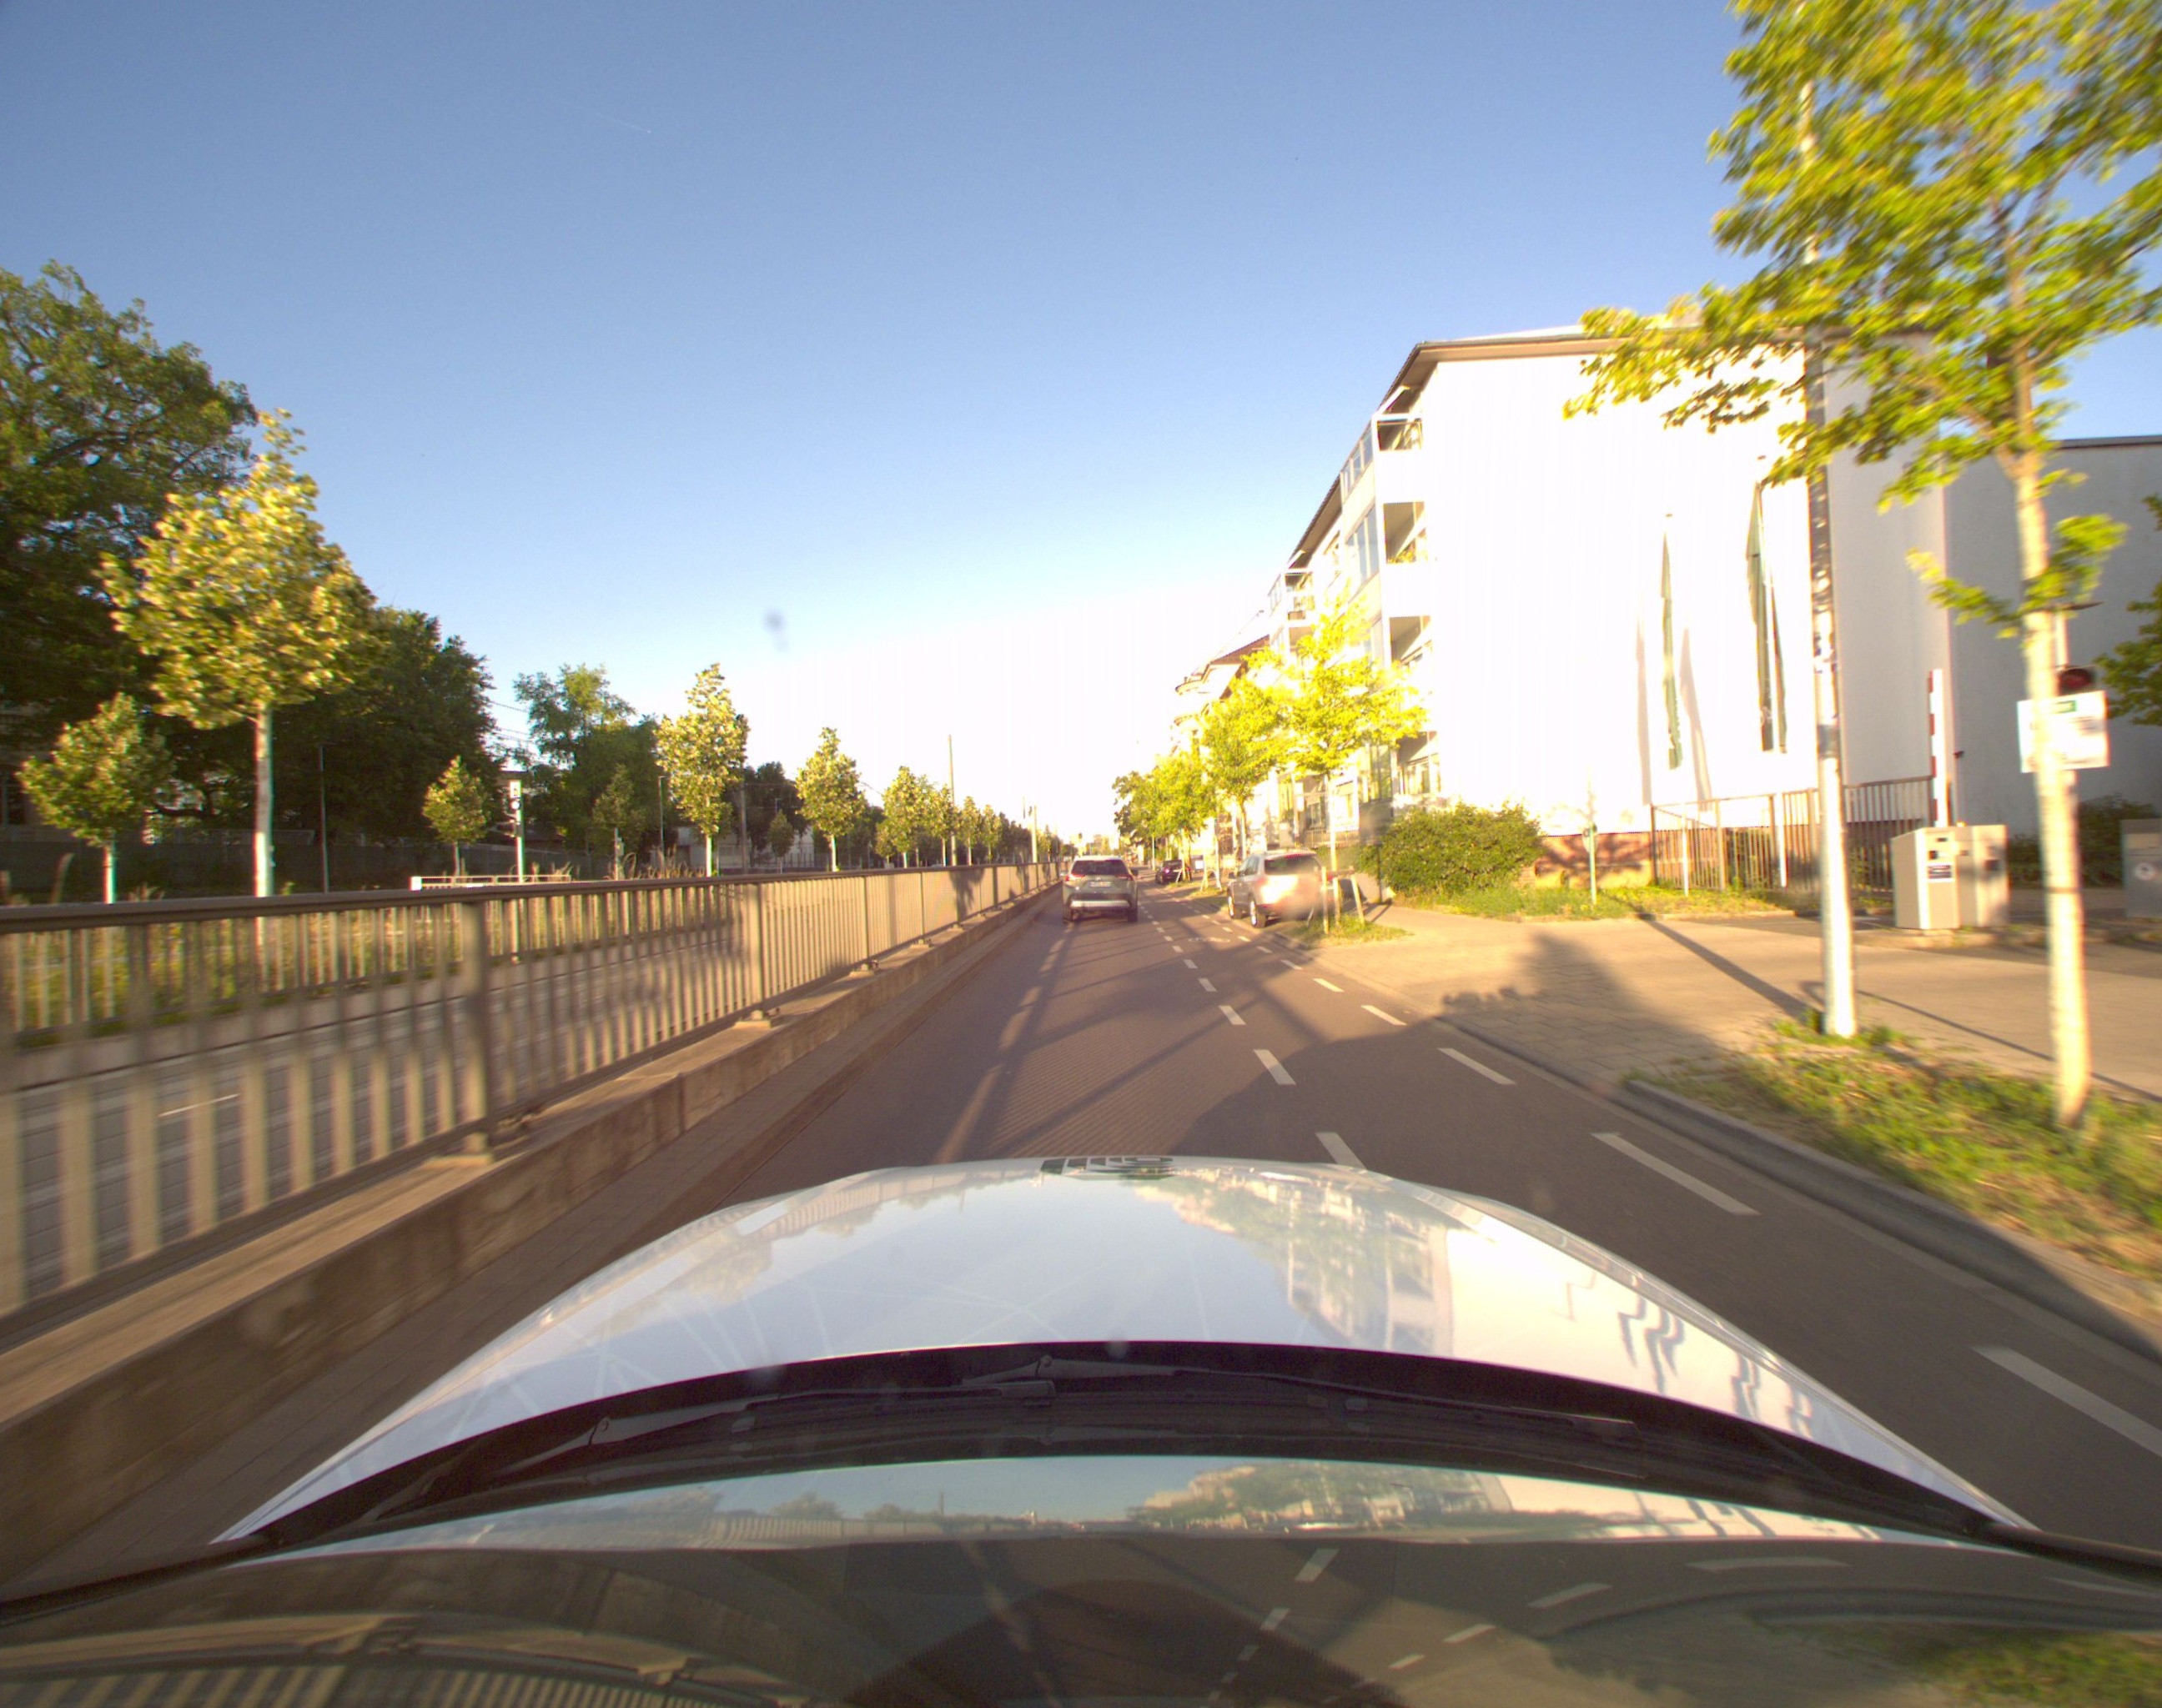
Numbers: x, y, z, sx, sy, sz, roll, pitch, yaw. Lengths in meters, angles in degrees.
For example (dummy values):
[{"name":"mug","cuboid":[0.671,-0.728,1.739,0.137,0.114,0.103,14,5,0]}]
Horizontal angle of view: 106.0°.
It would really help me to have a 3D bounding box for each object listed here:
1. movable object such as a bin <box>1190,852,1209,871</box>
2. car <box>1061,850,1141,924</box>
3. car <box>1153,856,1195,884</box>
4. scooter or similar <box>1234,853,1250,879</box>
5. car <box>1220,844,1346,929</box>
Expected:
[{"name":"movable object such as a bin","cuboid":[9.321,0.585,64.328,1.256,1.462,1.123,-2,-1,-2]},{"name":"car","cuboid":[0.463,0.785,21.273,1.852,1.714,4.191,-1,-1,0]},{"name":"car","cuboid":[5.492,0.920,48.442,1.788,1.471,4.442,-5,0,-1]},{"name":"scooter or similar","cuboid":[7.944,0.608,40.295,0.489,1.258,1.207,-1,-1,-2]},{"name":"car","cuboid":[4.598,0.689,19.182,1.848,1.706,4.253,-2,0,0]}]
